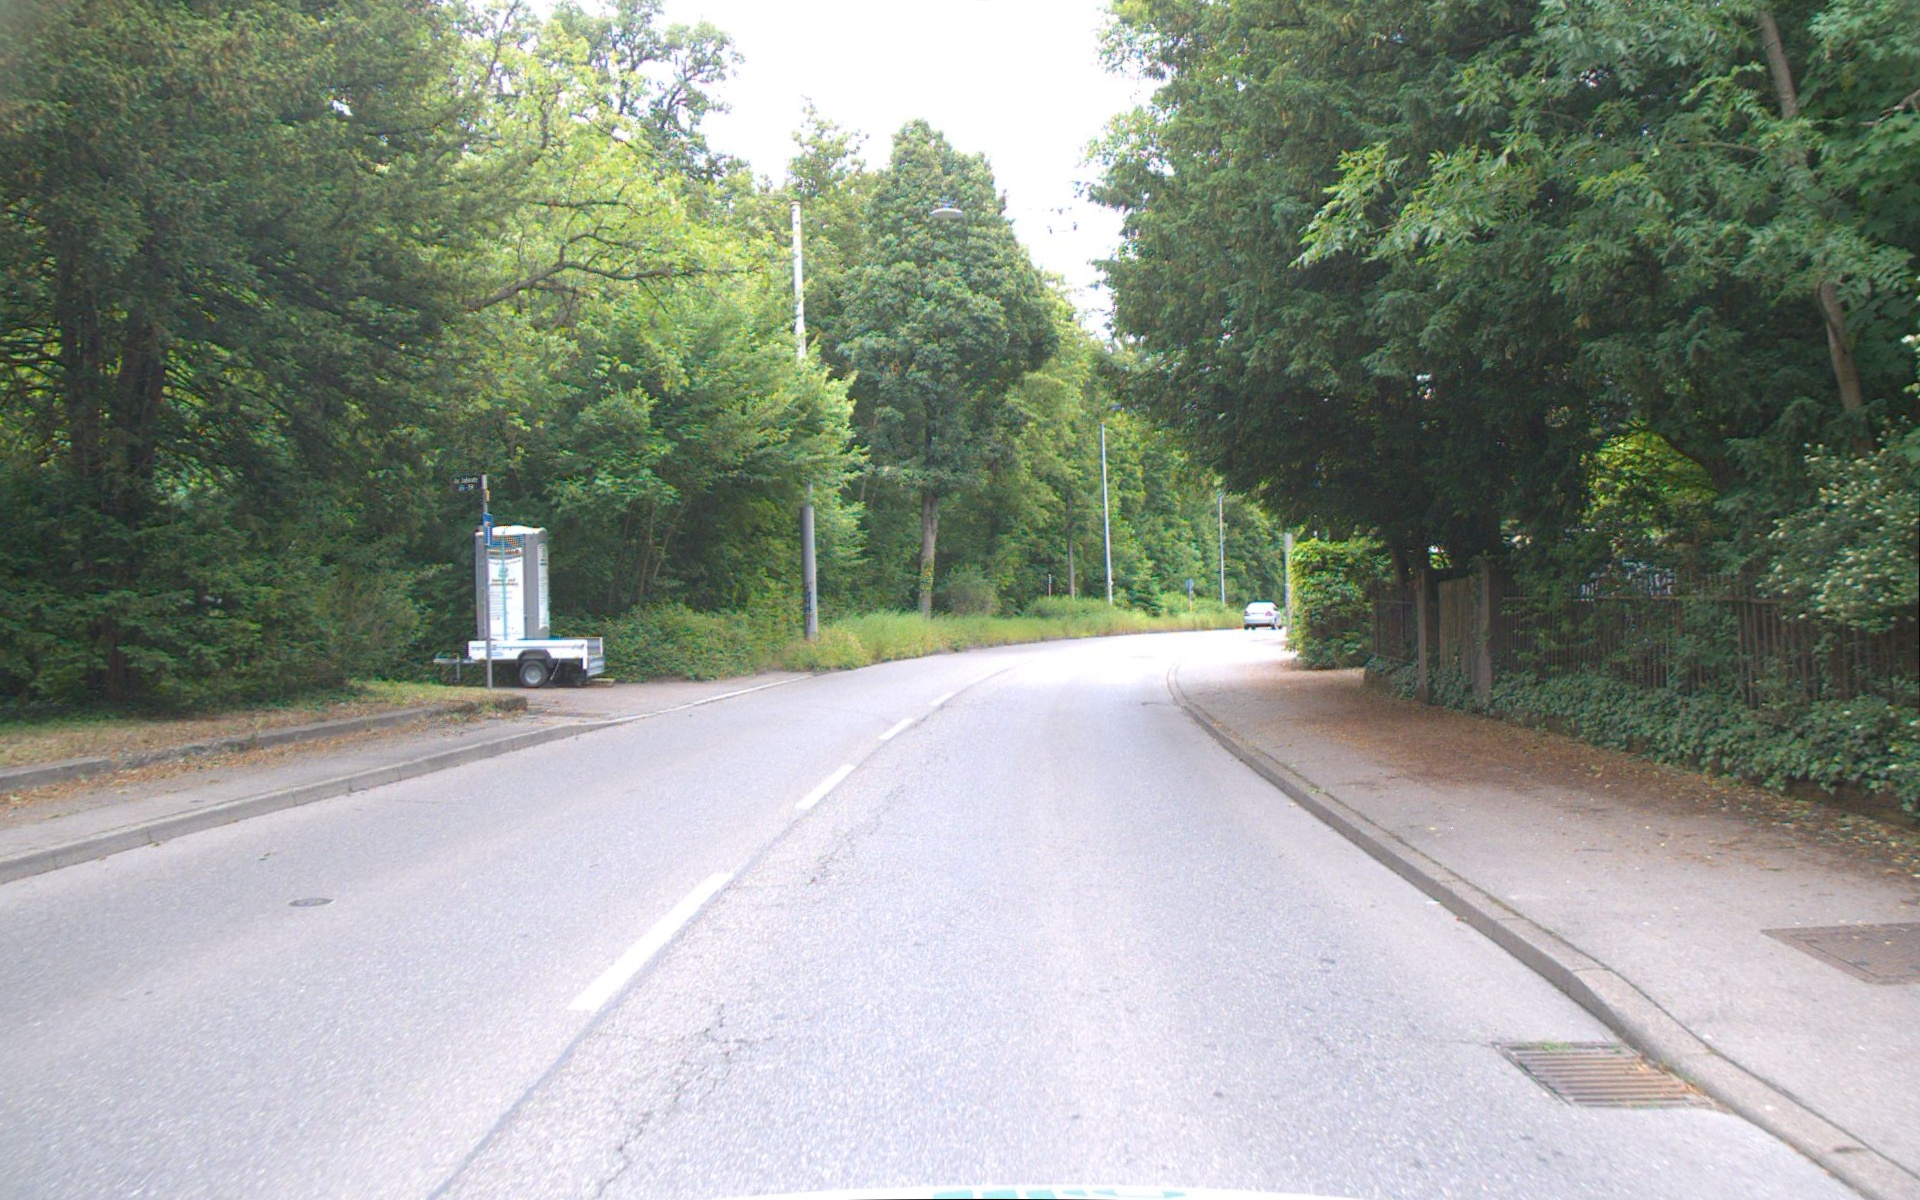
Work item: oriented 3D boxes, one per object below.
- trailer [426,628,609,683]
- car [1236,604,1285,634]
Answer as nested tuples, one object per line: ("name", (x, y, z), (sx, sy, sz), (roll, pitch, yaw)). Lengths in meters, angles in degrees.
("trailer", (-7.722, 0.967, 29.050), (2.898, 0.843, 1.473), (-1, 0, -7))
("car", (16.199, 0.992, 89.039), (1.952, 1.512, 4.002), (-2, 0, 19))
